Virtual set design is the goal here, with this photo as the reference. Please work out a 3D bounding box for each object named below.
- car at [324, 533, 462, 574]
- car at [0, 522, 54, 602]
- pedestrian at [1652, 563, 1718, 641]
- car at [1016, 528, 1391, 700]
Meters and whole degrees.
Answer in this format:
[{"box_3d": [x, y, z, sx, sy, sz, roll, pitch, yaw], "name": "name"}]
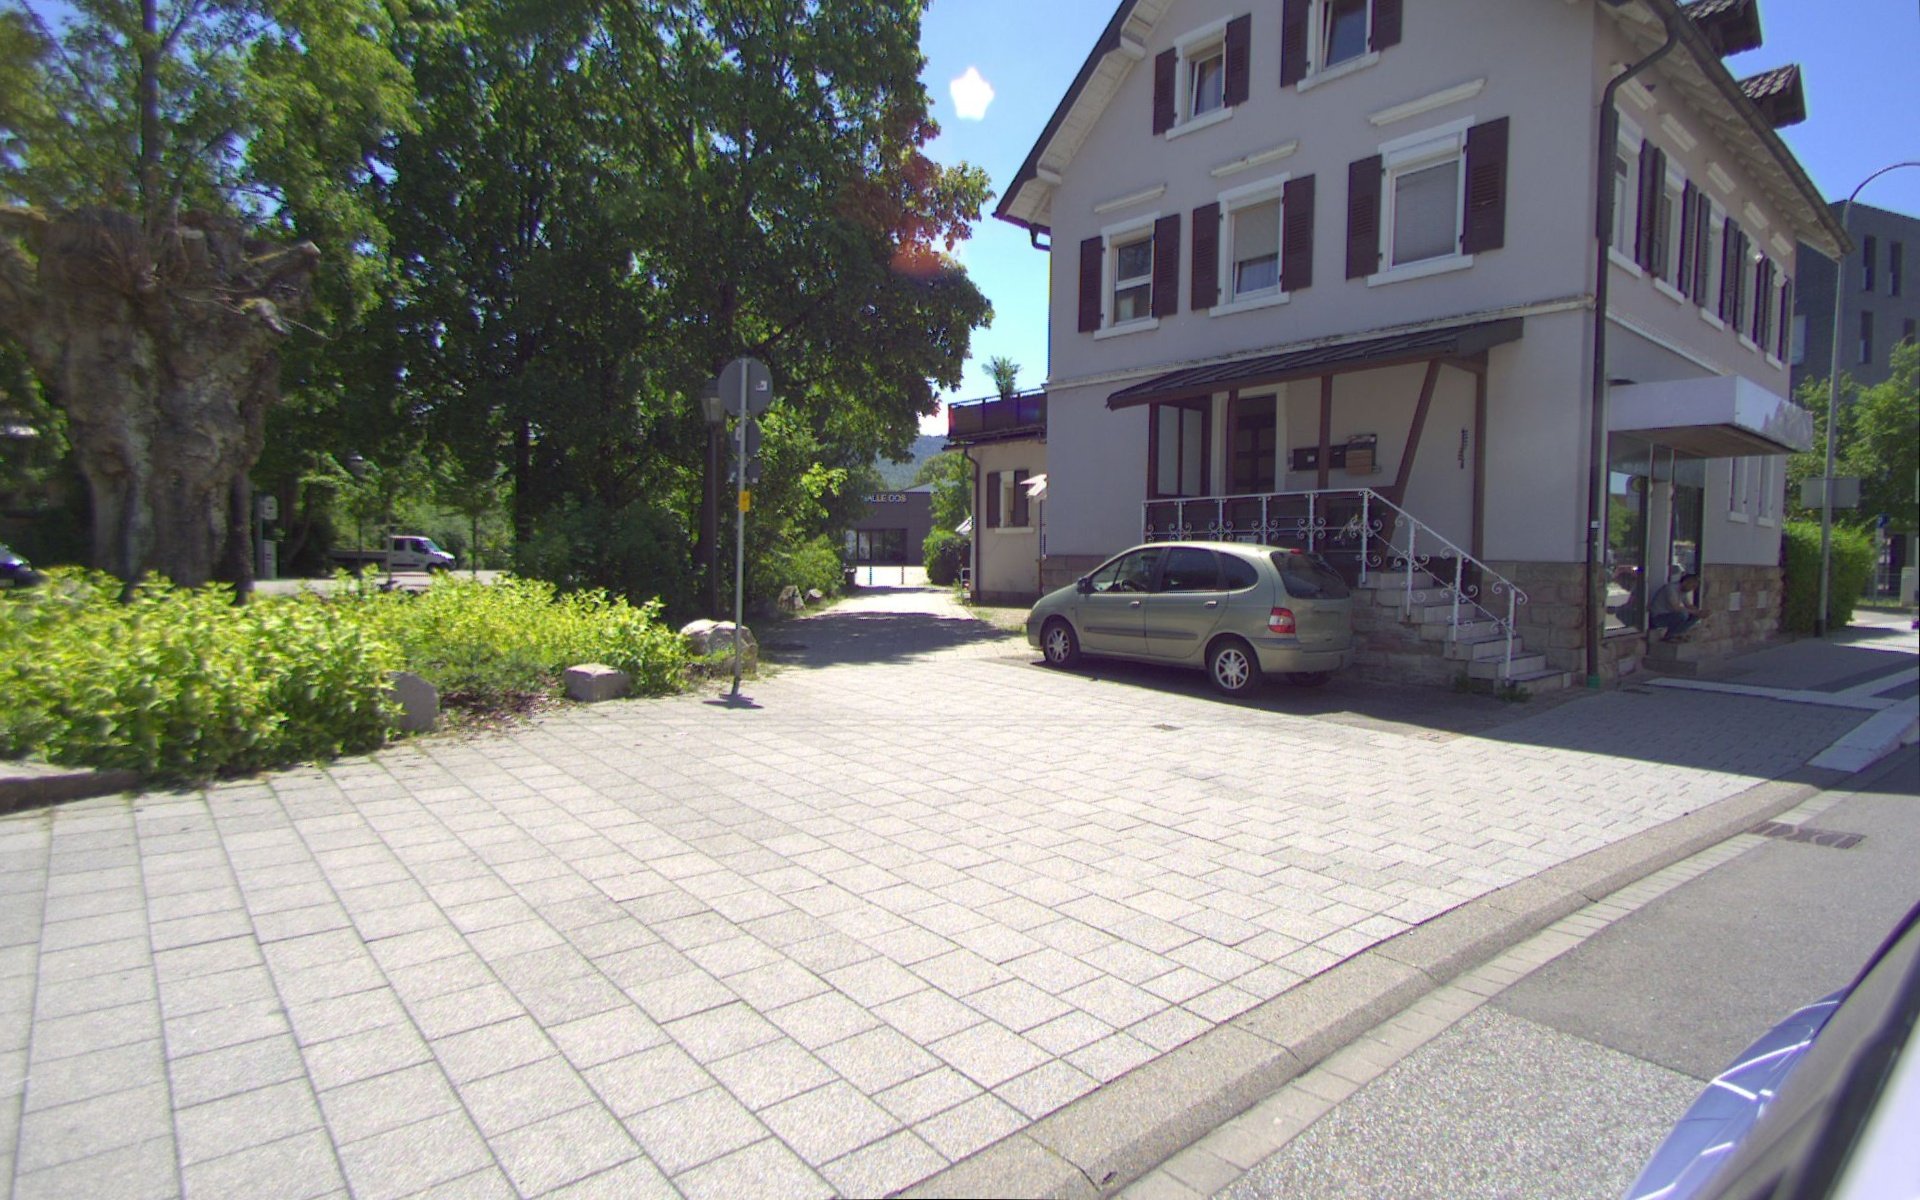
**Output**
[{"box_3d": [-32.914, -2.722, 58.956, 6.624, 2.266, 2.199, 0, 3, -11], "name": "car"}, {"box_3d": [-19.511, -0.749, 19.090, 3.701, 1.471, 1.670, 1, 3, 9], "name": "car"}, {"box_3d": [9.927, 0.009, 13.863, 0.590, 1.011, 0.712, 4, 4, 45], "name": "pedestrian"}, {"box_3d": [2.699, 0.010, 12.032, 1.770, 1.614, 4.072, -1, 5, -39], "name": "car"}]
